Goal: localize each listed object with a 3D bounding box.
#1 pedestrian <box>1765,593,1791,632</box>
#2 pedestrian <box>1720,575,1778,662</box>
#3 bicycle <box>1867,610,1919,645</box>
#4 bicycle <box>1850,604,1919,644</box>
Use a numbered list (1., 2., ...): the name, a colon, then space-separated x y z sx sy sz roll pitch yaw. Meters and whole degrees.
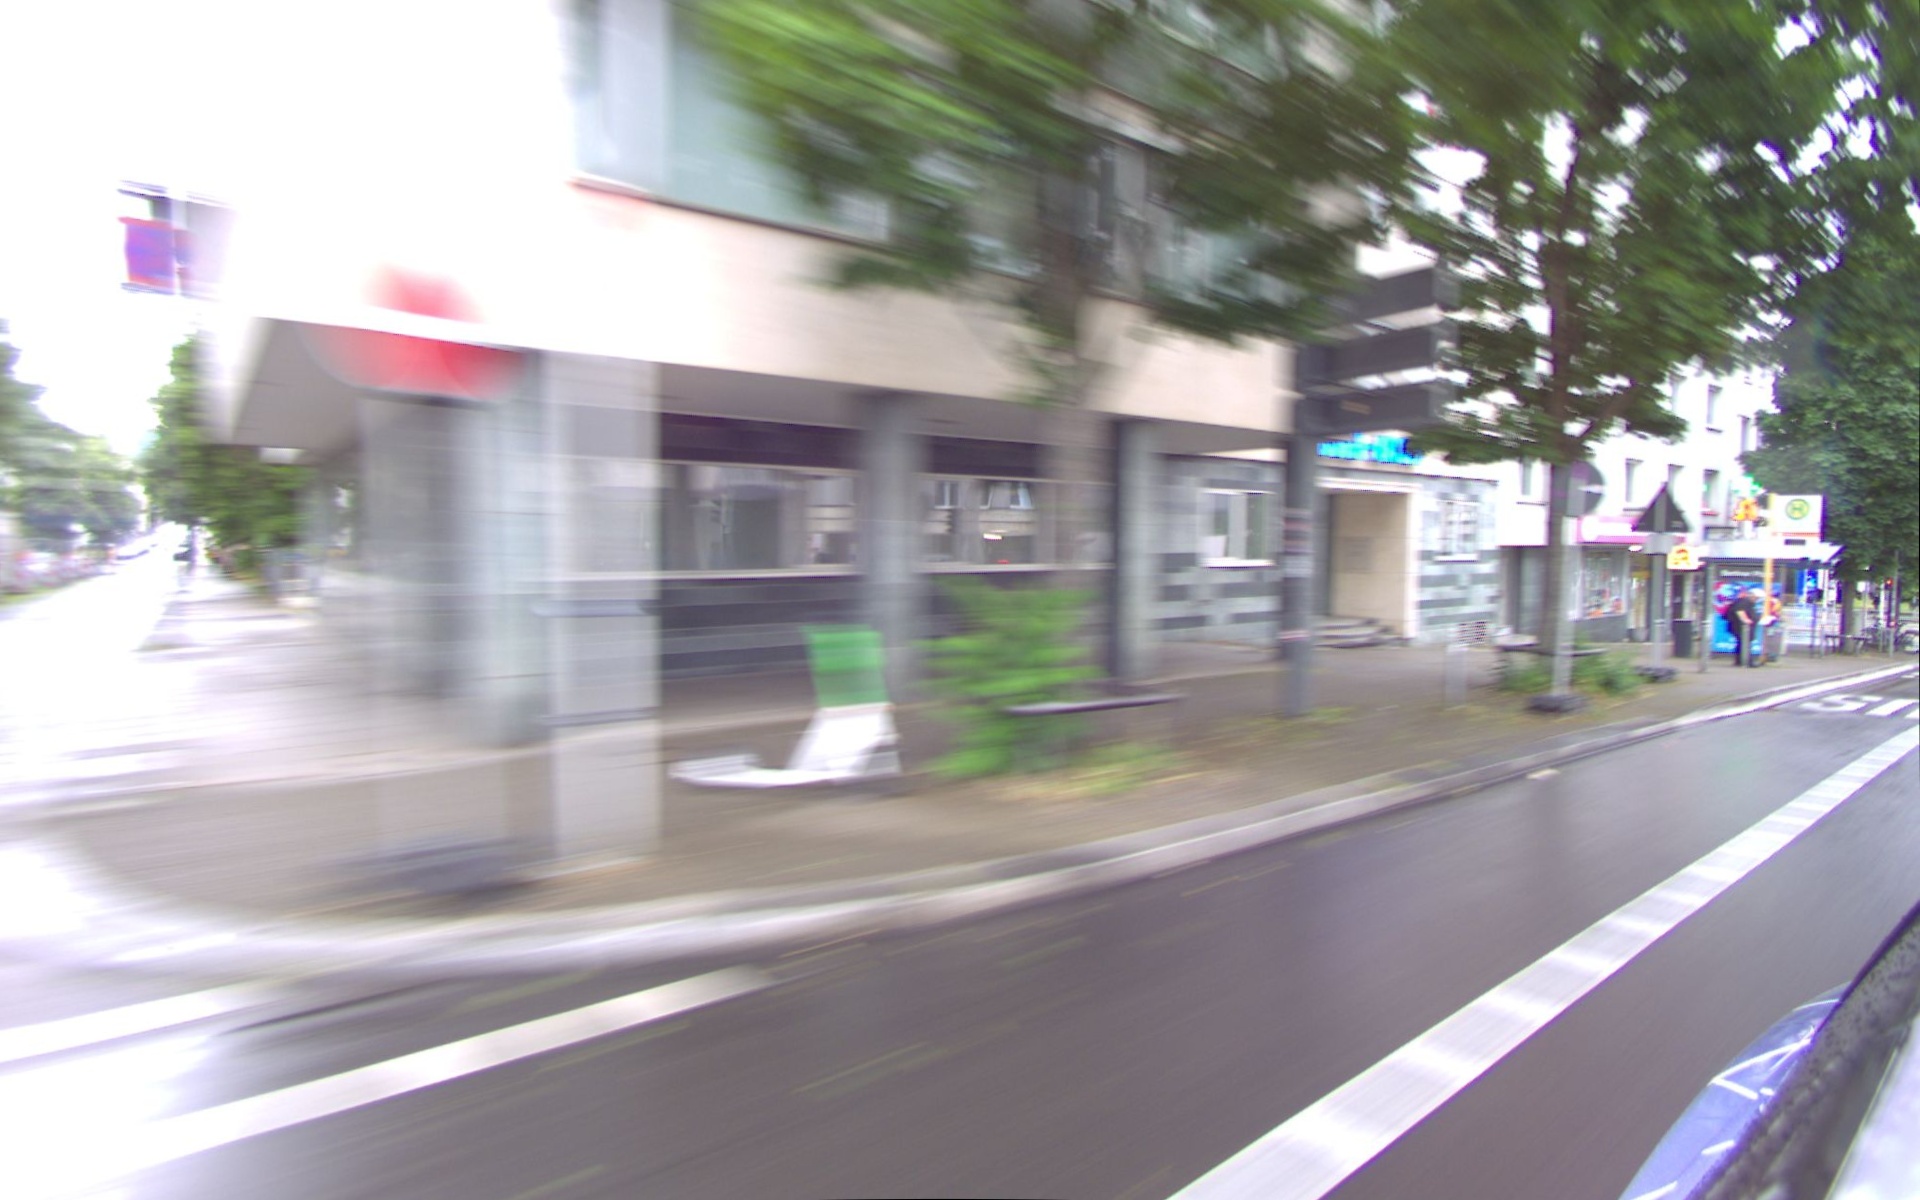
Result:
1. pedestrian: 37.542 0.578 46.462 0.519 1.733 0.706 1 2 1
2. pedestrian: 15.509 0.349 19.889 0.951 1.646 0.666 1 2 -42
3. bicycle: 32.547 0.972 34.857 0.637 1.105 1.822 2 2 -37
4. bicycle: 31.163 0.813 33.600 0.637 1.188 2.323 0 3 -37
